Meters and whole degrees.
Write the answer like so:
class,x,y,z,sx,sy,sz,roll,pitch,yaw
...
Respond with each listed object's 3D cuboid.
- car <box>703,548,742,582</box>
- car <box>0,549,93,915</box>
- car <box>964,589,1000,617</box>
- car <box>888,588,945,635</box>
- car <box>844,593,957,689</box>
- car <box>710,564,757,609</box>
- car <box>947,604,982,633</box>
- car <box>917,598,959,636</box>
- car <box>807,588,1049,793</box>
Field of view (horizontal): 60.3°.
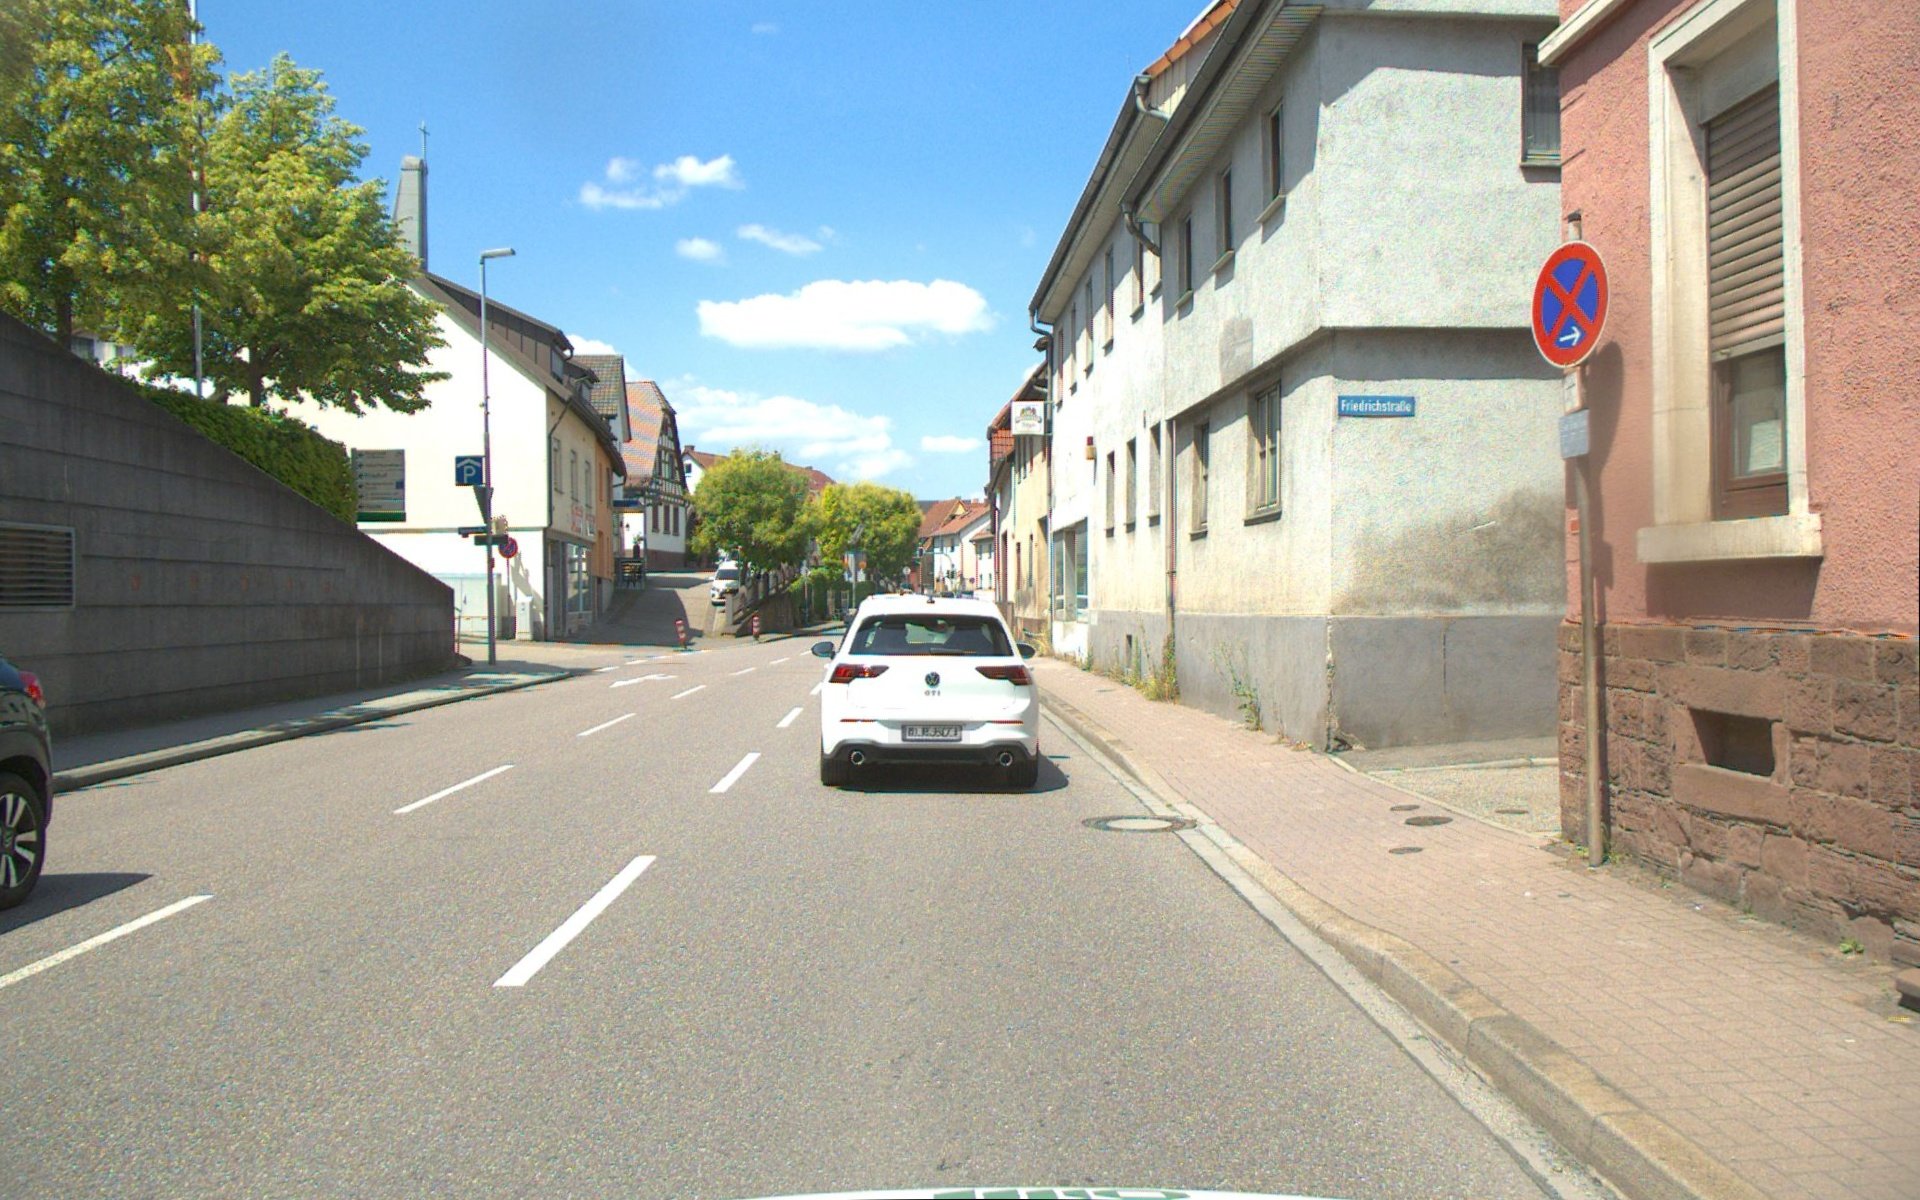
class,x,y,z,sx,sy,sz,roll,pitch,yaw
car,-12.035,-1.801,84.139,1.545,1.385,3.857,-1,6,-2
car,-5.226,0.631,6.407,1.636,1.686,4.017,-1,0,-1
car,1.492,0.183,111.302,1.737,1.796,4.004,-1,0,10
car,-1.414,0.374,54.701,1.771,1.493,4.000,0,0,0
car,-1.048,0.648,28.003,1.772,1.493,3.997,0,0,-3
car,-9.820,-0.629,71.960,1.659,1.569,3.857,-1,6,-2
car,0.285,1.048,95.397,1.738,1.565,4.002,-1,0,3
car,-0.943,0.709,72.047,1.739,1.565,4.000,-1,0,0
car,-0.245,0.671,14.197,1.771,1.493,4.000,0,0,0
